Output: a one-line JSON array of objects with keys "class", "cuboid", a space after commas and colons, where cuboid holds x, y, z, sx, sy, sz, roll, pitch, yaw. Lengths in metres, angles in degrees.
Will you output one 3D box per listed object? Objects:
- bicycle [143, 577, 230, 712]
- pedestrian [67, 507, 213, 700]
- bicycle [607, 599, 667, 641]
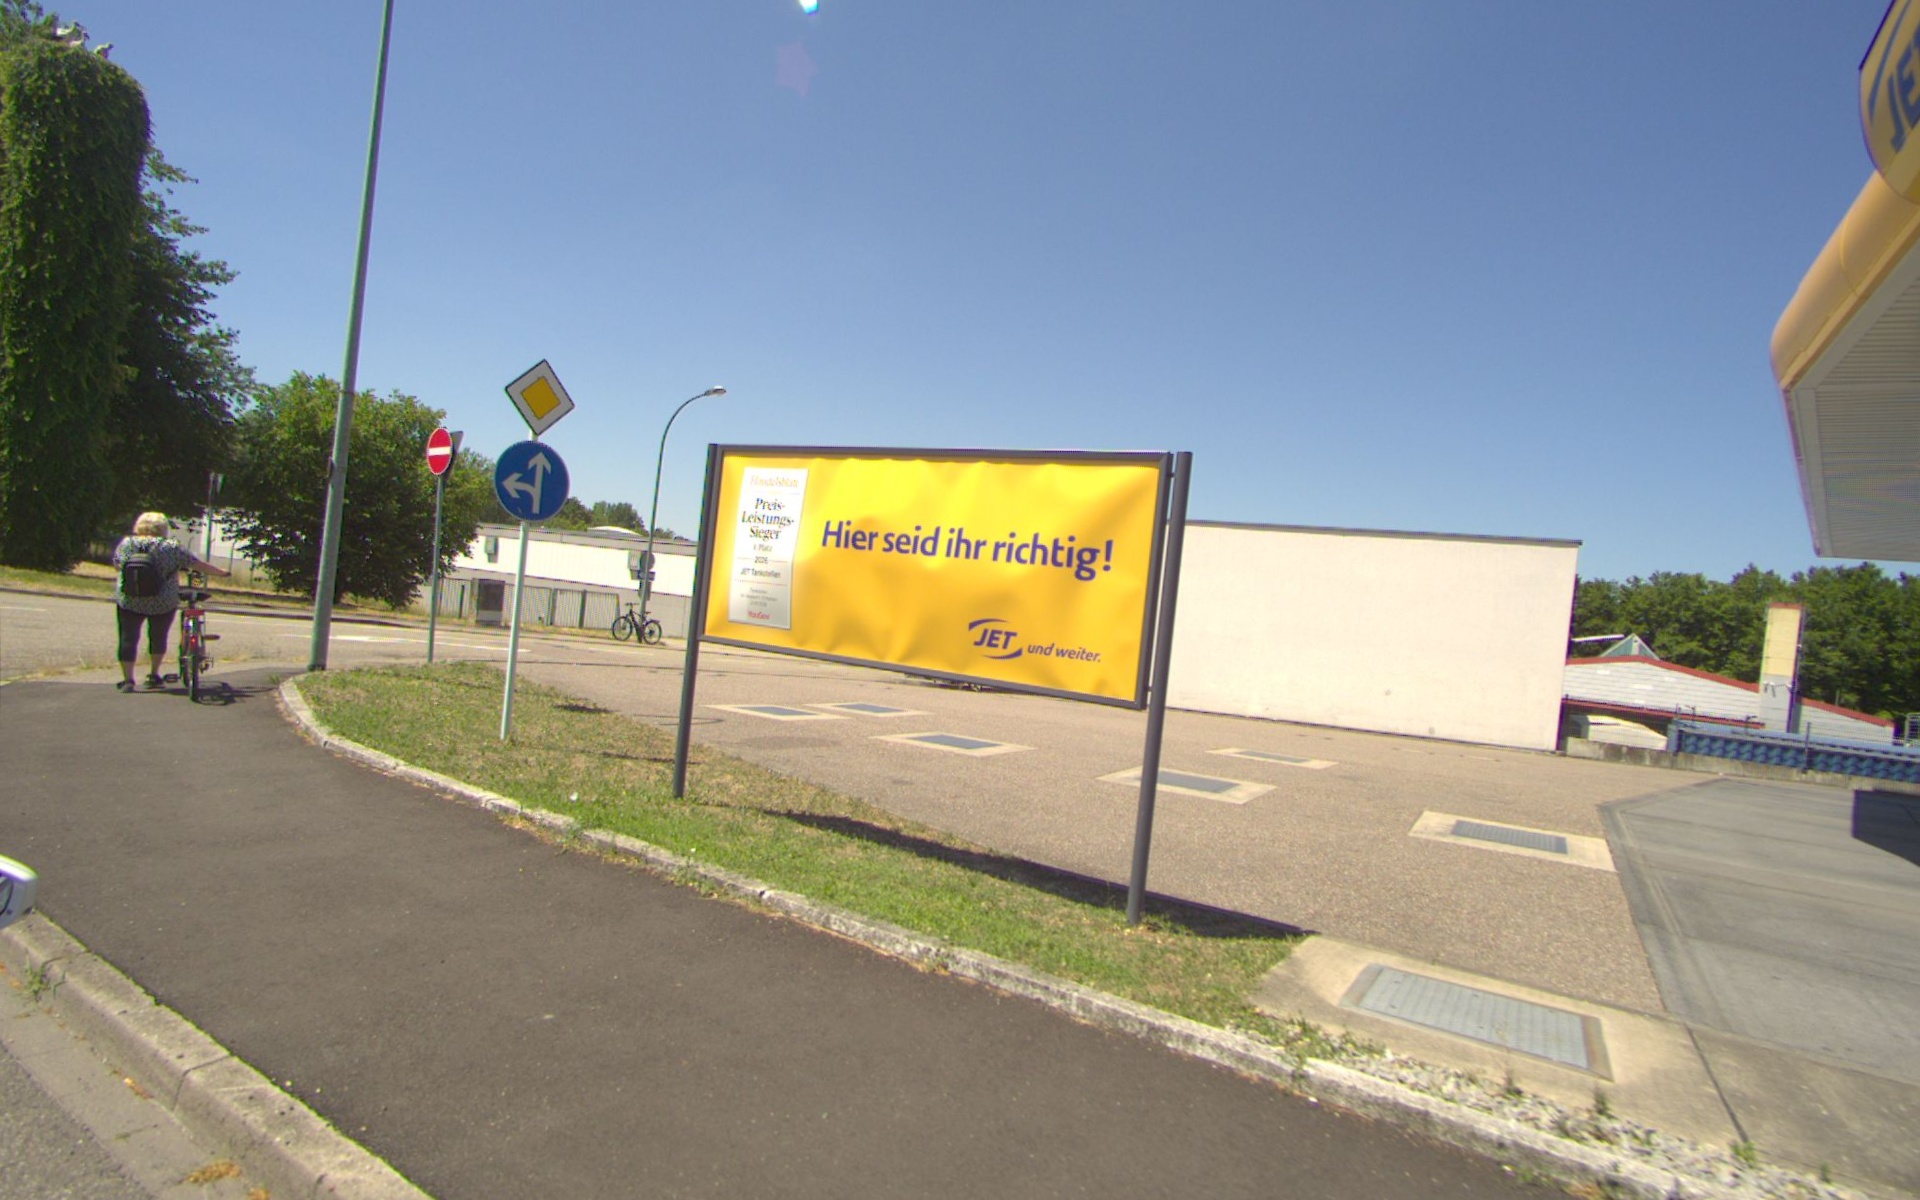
[{"class": "bicycle", "cuboid": [-6.307, 0.332, 8.176, 0.376, 0.923, 1.579, 7, -1, -41]}, {"class": "pedestrian", "cuboid": [-6.706, 0.026, 8.228, 0.766, 1.438, 0.858, 7, -1, -42]}, {"class": "bicycle", "cuboid": [-9.732, 0.623, 30.375, 0.460, 1.110, 1.695, 6, -2, 35]}]
